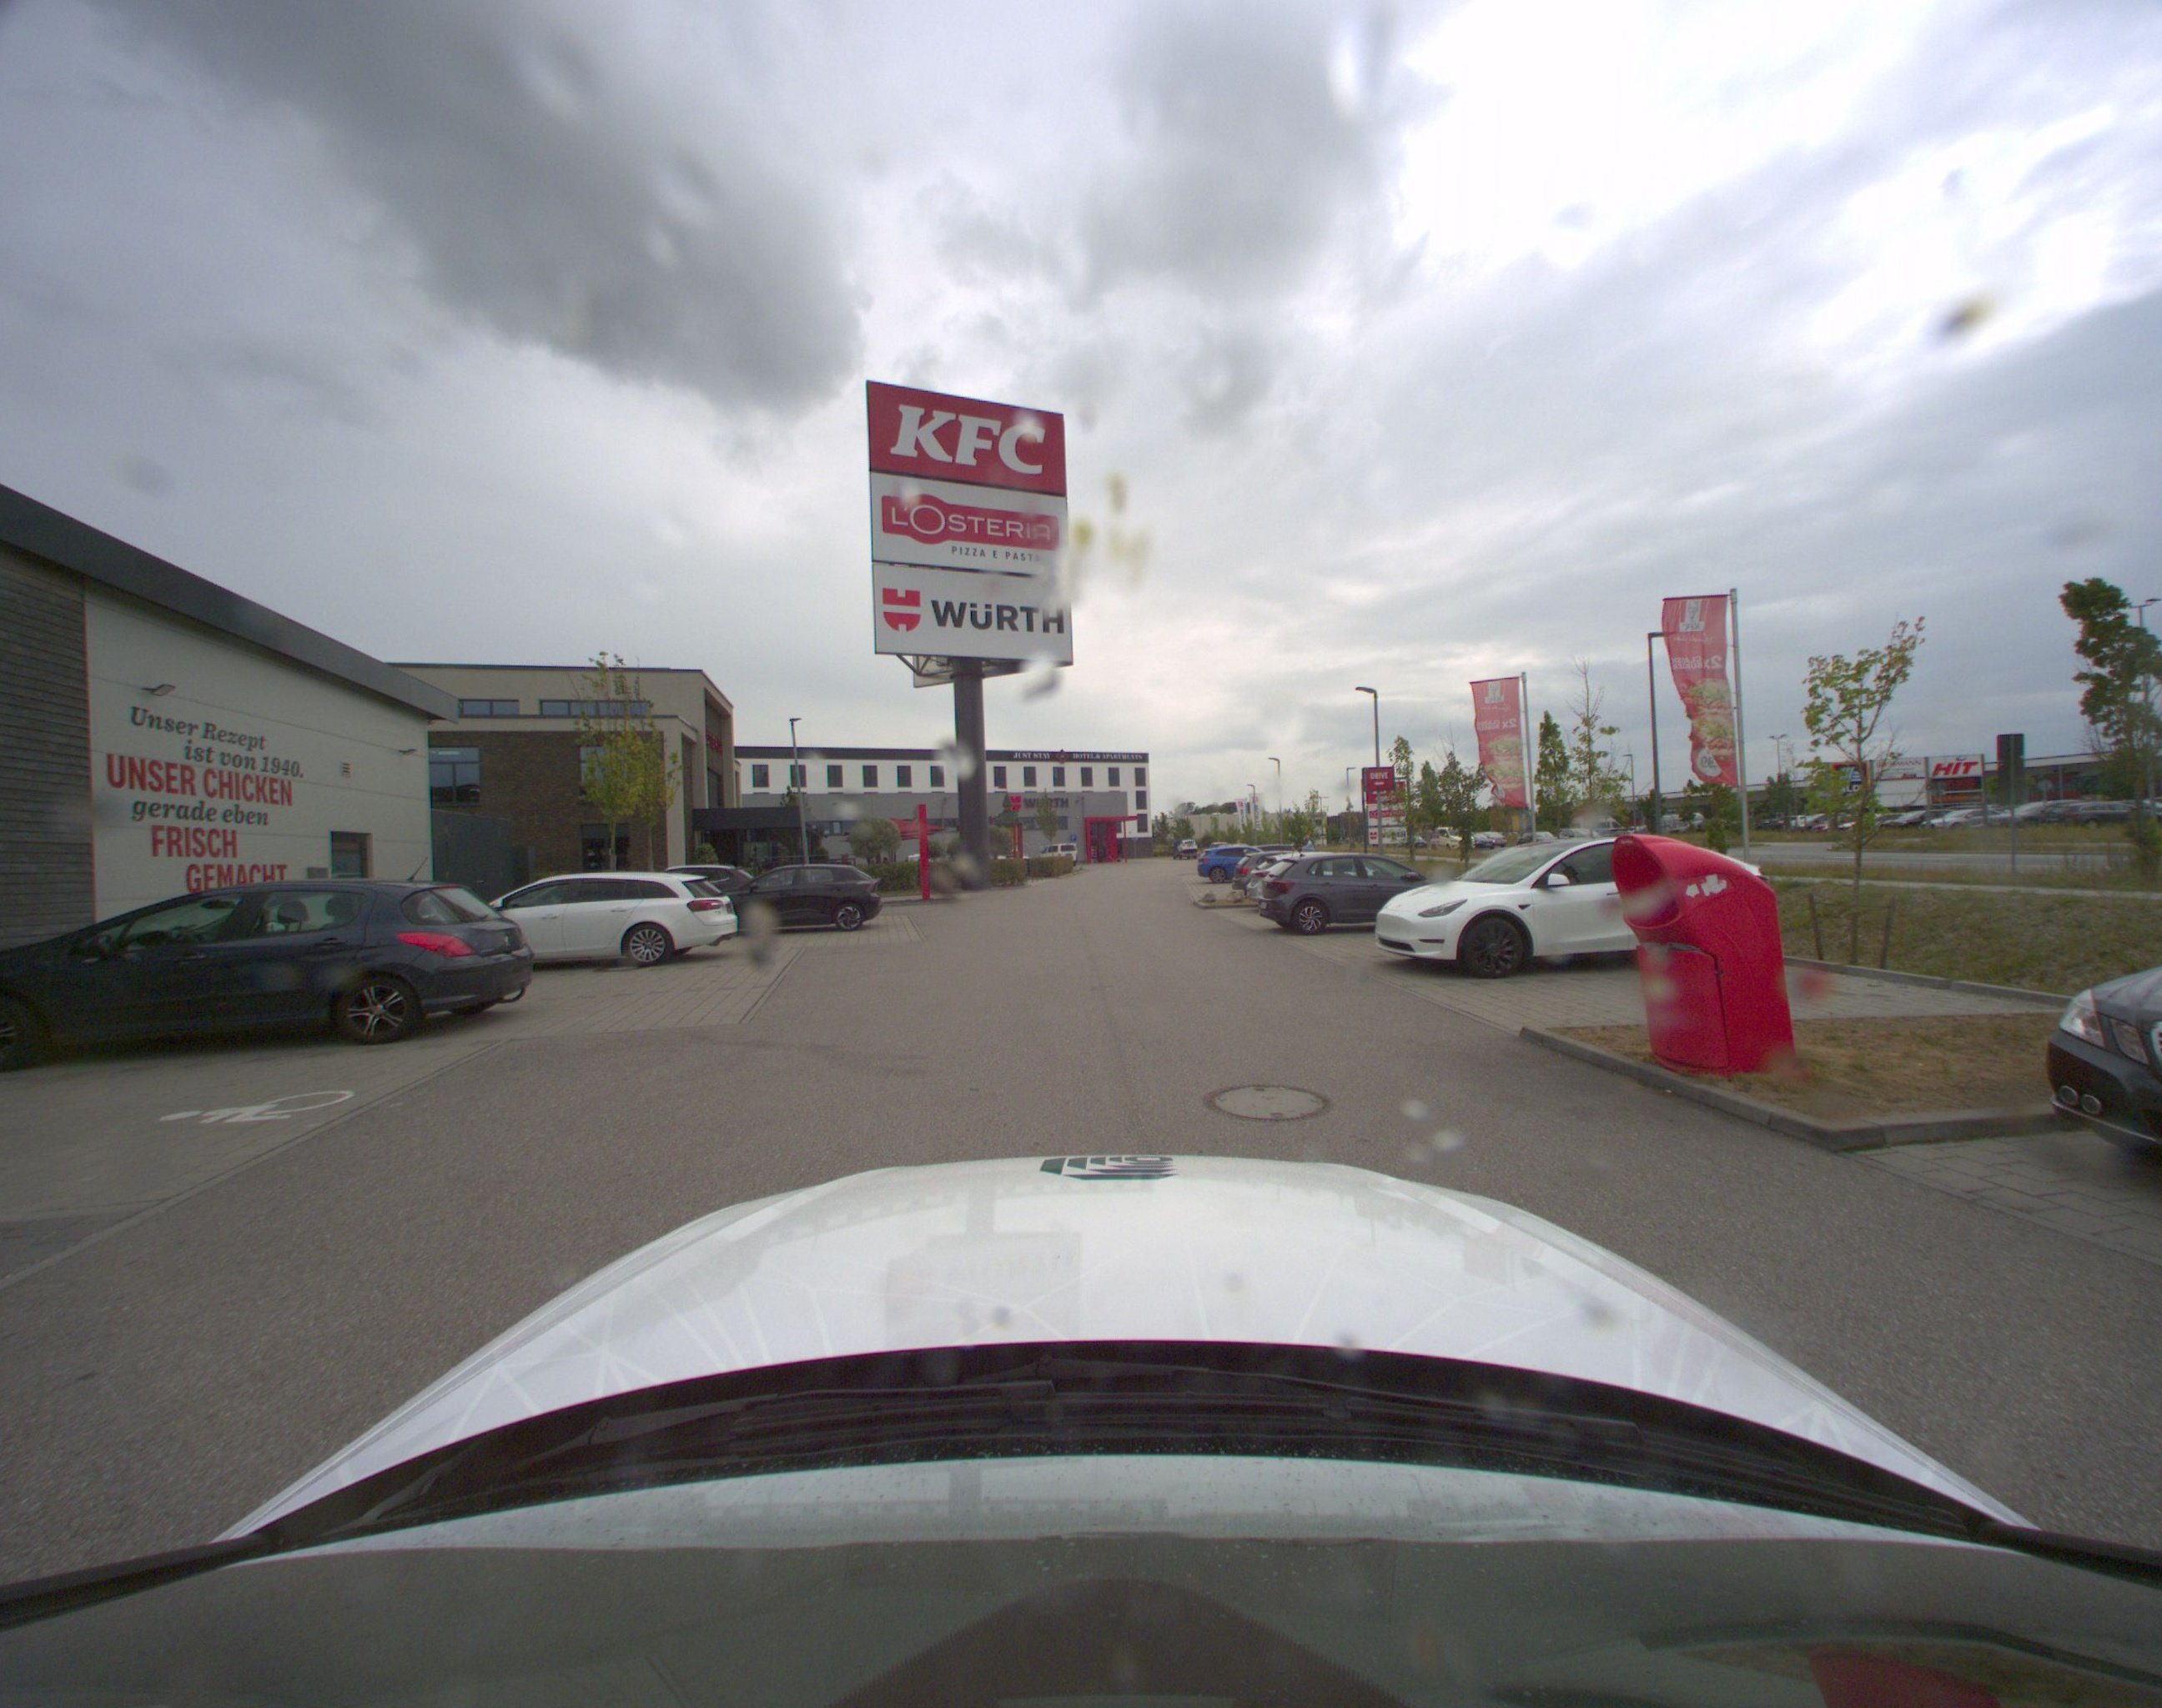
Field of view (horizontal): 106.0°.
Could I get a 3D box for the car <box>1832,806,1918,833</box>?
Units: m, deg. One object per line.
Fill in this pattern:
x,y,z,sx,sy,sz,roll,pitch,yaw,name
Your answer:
54.617,-2.379,56.087,4.046,1.501,1.865,-4,0,1,car

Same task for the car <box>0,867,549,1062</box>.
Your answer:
-7.682,0.922,7.790,3.932,1.487,1.750,-1,0,-14,car

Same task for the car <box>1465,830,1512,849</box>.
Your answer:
37.853,-1.294,75.783,1.791,1.552,4.853,-4,0,-1,car

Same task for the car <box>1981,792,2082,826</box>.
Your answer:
53.642,-2.527,45.997,3.743,1.539,1.771,-4,0,-3,car

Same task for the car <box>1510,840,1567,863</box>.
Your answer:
32.141,-0.206,57.333,1.841,1.499,4.291,-3,0,5,car

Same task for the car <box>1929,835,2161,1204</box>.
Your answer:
6.621,0.614,3.374,4.723,1.456,1.906,-1,0,-8,car

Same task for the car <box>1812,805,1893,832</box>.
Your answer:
55.425,-2.538,58.546,4.032,1.539,1.906,-4,0,-3,car

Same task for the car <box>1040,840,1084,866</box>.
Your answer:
-1.683,-0.075,71.070,2.068,1.855,4.024,-8,2,-28,car

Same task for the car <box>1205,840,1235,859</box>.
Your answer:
13.235,-0.408,77.917,1.854,1.650,3.992,-1,0,-6,car

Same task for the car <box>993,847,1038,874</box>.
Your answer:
-4.685,0.472,57.462,2.000,1.650,4.547,-4,0,-19,car

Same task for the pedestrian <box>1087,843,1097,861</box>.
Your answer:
1.082,-0.187,80.589,0.625,1.751,0.901,-3,0,-15,pedestrian

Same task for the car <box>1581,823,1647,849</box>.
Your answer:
35.570,-1.173,54.508,1.786,1.552,4.867,-4,0,9,car

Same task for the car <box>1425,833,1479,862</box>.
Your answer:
29.469,-0.532,64.864,1.986,2.086,5.234,-3,1,2,car

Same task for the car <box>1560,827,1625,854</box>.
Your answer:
31.392,-0.845,50.118,1.814,1.459,4.009,-4,0,7,car

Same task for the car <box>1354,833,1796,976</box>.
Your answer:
6.046,0.559,10.323,4.522,1.541,1.923,-1,0,-4,car

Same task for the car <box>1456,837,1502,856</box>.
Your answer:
32.814,-0.619,67.299,1.756,1.394,4.220,-3,0,1,car

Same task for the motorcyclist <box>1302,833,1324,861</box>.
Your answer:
13.296,-0.397,46.729,0.936,1.489,0.830,-3,0,-2,motorcyclist

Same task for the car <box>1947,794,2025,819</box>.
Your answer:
81.072,-4.231,73.032,1.993,1.837,4.174,-4,0,-8,car

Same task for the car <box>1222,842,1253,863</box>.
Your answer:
11.441,-0.128,59.722,1.743,1.469,4.482,-2,0,5,car

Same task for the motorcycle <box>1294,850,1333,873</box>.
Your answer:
13.332,0.444,46.730,1.910,1.208,0.794,-3,0,-3,motorcycle

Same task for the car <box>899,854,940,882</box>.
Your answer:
-10.970,0.957,54.994,2.000,1.650,4.547,-4,0,-19,car

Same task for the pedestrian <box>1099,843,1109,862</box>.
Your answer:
2.235,-0.131,80.591,0.678,1.802,0.875,-2,0,-17,pedestrian

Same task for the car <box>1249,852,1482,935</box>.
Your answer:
5.236,0.694,15.340,3.783,1.412,1.739,-1,0,0,car

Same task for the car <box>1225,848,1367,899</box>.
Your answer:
6.529,0.567,25.094,3.969,1.428,1.730,-1,0,4,car

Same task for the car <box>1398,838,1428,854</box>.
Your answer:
30.124,-0.765,73.977,1.455,1.336,3.166,-3,0,3,car

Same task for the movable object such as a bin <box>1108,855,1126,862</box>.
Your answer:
3.538,0.434,79.444,1.492,0.703,0.959,-2,0,-18,movable object such as a bin

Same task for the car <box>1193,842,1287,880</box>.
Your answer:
7.227,0.304,37.224,4.038,1.459,1.780,-3,1,8,car

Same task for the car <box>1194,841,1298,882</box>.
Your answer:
6.981,0.317,34.851,4.180,1.544,1.868,-2,0,6,car

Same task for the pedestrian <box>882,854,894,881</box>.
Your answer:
-8.927,0.629,37.687,0.420,1.199,0.455,-4,0,-9,pedestrian

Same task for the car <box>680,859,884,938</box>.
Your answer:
-6.594,0.950,18.411,4.116,1.528,1.733,-2,0,-14,car

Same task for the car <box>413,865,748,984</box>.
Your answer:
-7.871,1.041,13.302,4.171,1.486,1.991,-3,1,-14,car

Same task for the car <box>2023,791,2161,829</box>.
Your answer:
51.016,-2.181,41.130,4.121,1.539,2.006,-4,0,10,car

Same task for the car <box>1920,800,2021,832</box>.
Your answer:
54.139,-2.295,49.626,4.032,1.539,1.998,-4,0,-3,car

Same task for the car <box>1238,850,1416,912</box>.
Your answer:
6.029,0.638,20.341,3.912,1.412,1.840,-1,0,1,car

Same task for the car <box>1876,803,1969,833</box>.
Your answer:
54.305,-2.319,52.593,4.032,1.539,1.998,-4,0,-3,car

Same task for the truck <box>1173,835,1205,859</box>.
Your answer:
12.434,-0.764,94.475,2.326,2.407,7.887,-2,-2,-2,truck

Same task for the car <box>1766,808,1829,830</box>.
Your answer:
70.658,-3.471,80.396,1.997,1.837,4.166,-4,0,-14,car

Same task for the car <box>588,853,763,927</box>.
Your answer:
-10.934,0.937,22.193,4.008,1.596,1.721,-4,0,-26,car
